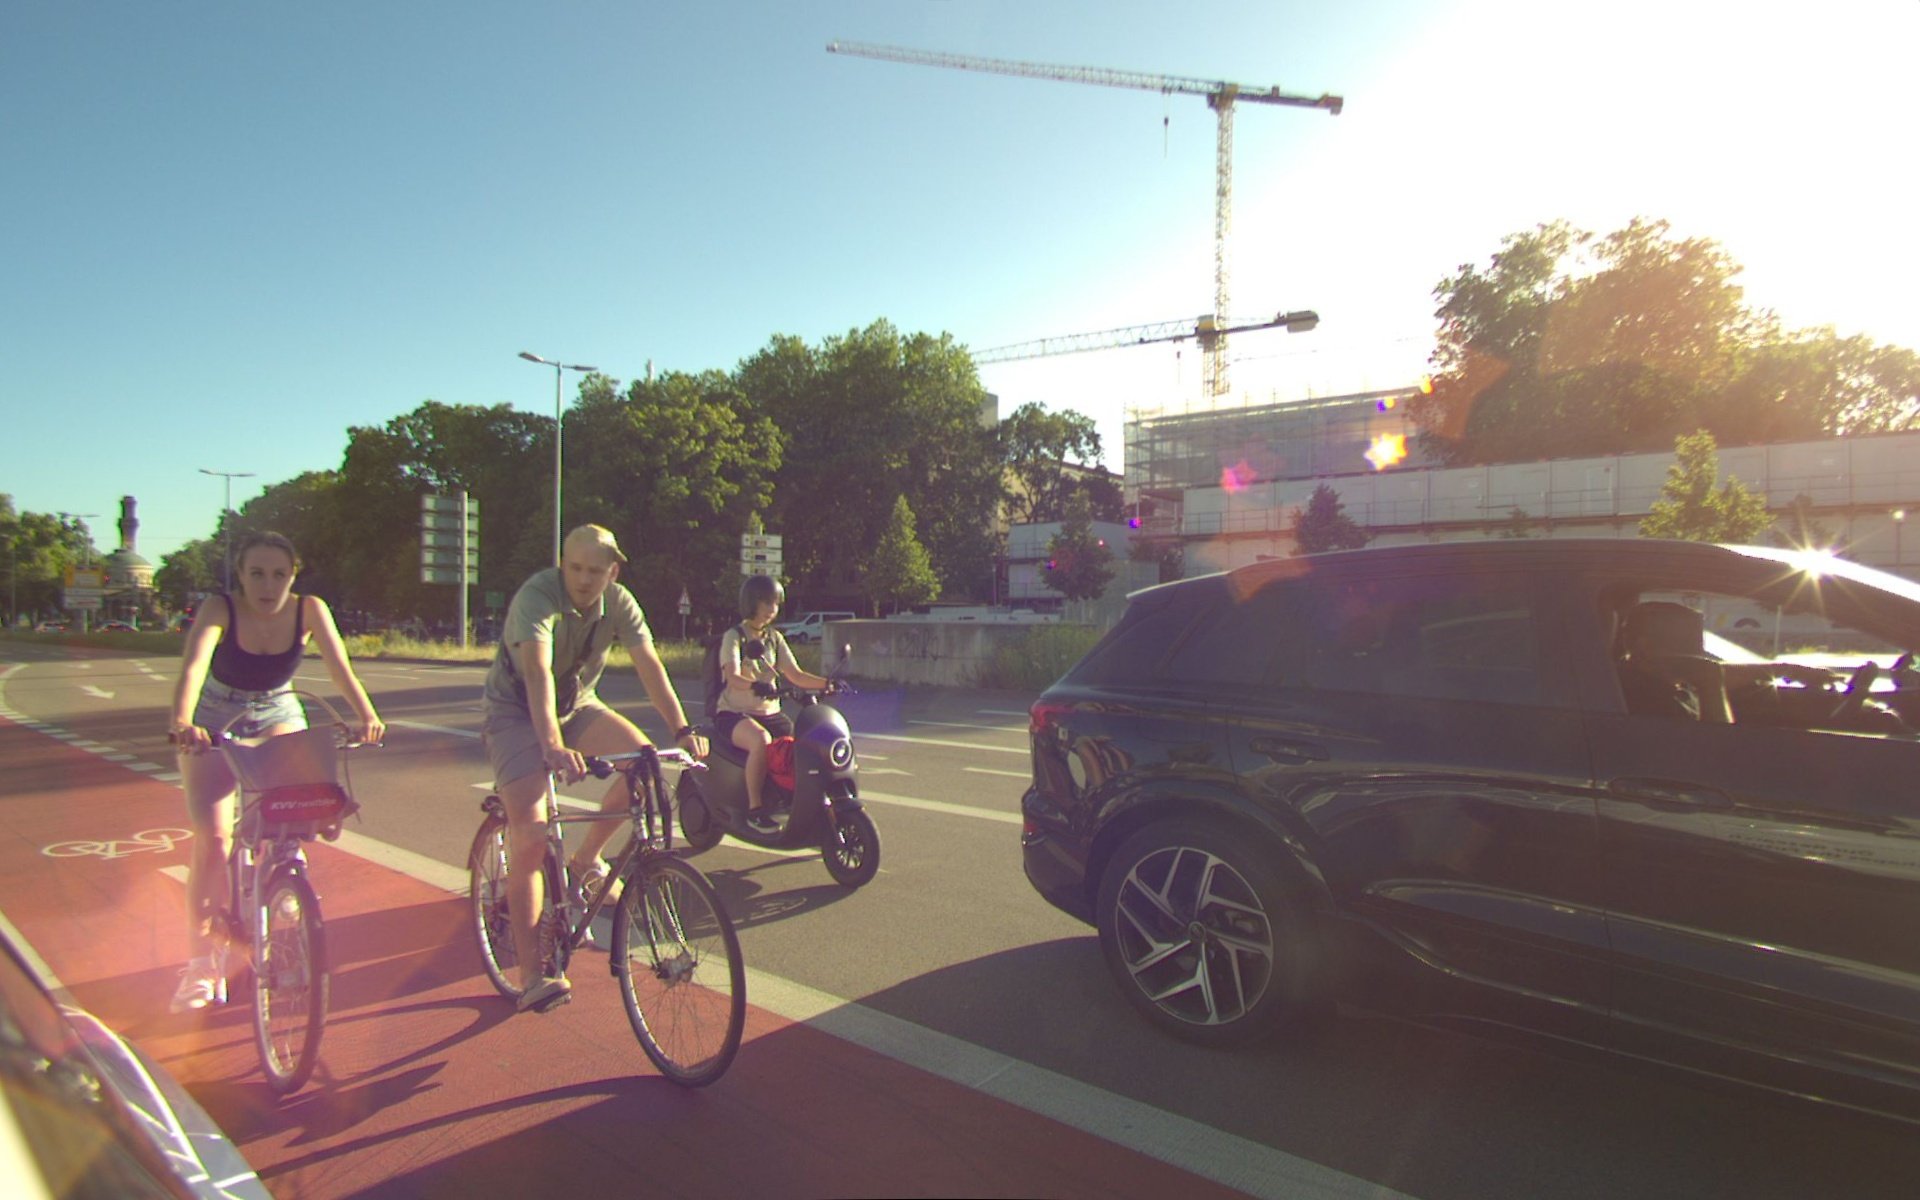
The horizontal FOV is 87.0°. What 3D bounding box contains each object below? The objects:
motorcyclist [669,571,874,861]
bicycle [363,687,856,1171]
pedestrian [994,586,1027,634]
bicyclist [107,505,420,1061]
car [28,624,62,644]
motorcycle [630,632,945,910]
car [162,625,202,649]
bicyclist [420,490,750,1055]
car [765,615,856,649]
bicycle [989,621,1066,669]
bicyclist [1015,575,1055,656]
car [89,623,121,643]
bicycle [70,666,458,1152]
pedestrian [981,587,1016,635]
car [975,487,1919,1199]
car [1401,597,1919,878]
[{"bbox_3d":[-1.076,0.599,5.767,0.917,1.485,0.717,-2,-1,41],"label":"motorcyclist"},{"bbox_3d":[-1.289,0.916,3.460,1.968,1.118,0.640,-2,-1,39],"label":"bicycle"},{"bbox_3d":[2.196,0.434,43.937,1.135,2.029,0.930,-1,0,35],"label":"pedestrian"},{"bbox_3d":[-2.361,0.528,3.421,0.874,1.591,0.635,-2,-1,39],"label":"bicyclist"},{"bbox_3d":[-82.572,3.037,91.352,3.998,1.699,1.826,-1,0,41],"label":"car"},{"bbox_3d":[-1.030,0.845,5.726,1.883,1.303,0.715,-2,-1,41],"label":"motorcycle"},{"bbox_3d":[-61.586,2.899,80.109,3.998,1.841,1.796,-1,0,41],"label":"car"},{"bbox_3d":[-1.275,0.498,3.443,0.841,1.618,0.709,-1,-1,39],"label":"bicyclist"},{"bbox_3d":[-9.061,1.931,61.841,2.065,1.950,5.443,-1,-2,42],"label":"car"},{"bbox_3d":[2.648,1.779,39.989,3.079,1.824,0.831,-3,-1,40],"label":"bicycle"},{"bbox_3d":[2.939,0.597,39.755,1.305,3.126,0.831,-1,0,39],"label":"bicyclist"},{"bbox_3d":[-79.870,3.045,94.526,3.945,1.802,1.725,-1,0,41],"label":"car"},{"bbox_3d":[-2.493,0.880,3.530,1.829,1.227,0.610,-2,-1,39],"label":"bicycle"},{"bbox_3d":[1.639,0.455,43.104,1.135,2.029,0.930,-1,0,35],"label":"pedestrian"},{"bbox_3d":[2.419,0.579,3.023,4.677,1.647,1.753,-1,0,40],"label":"car"},{"bbox_3d":[4.977,0.757,6.543,3.603,1.497,1.477,-2,-1,41],"label":"car"}]
